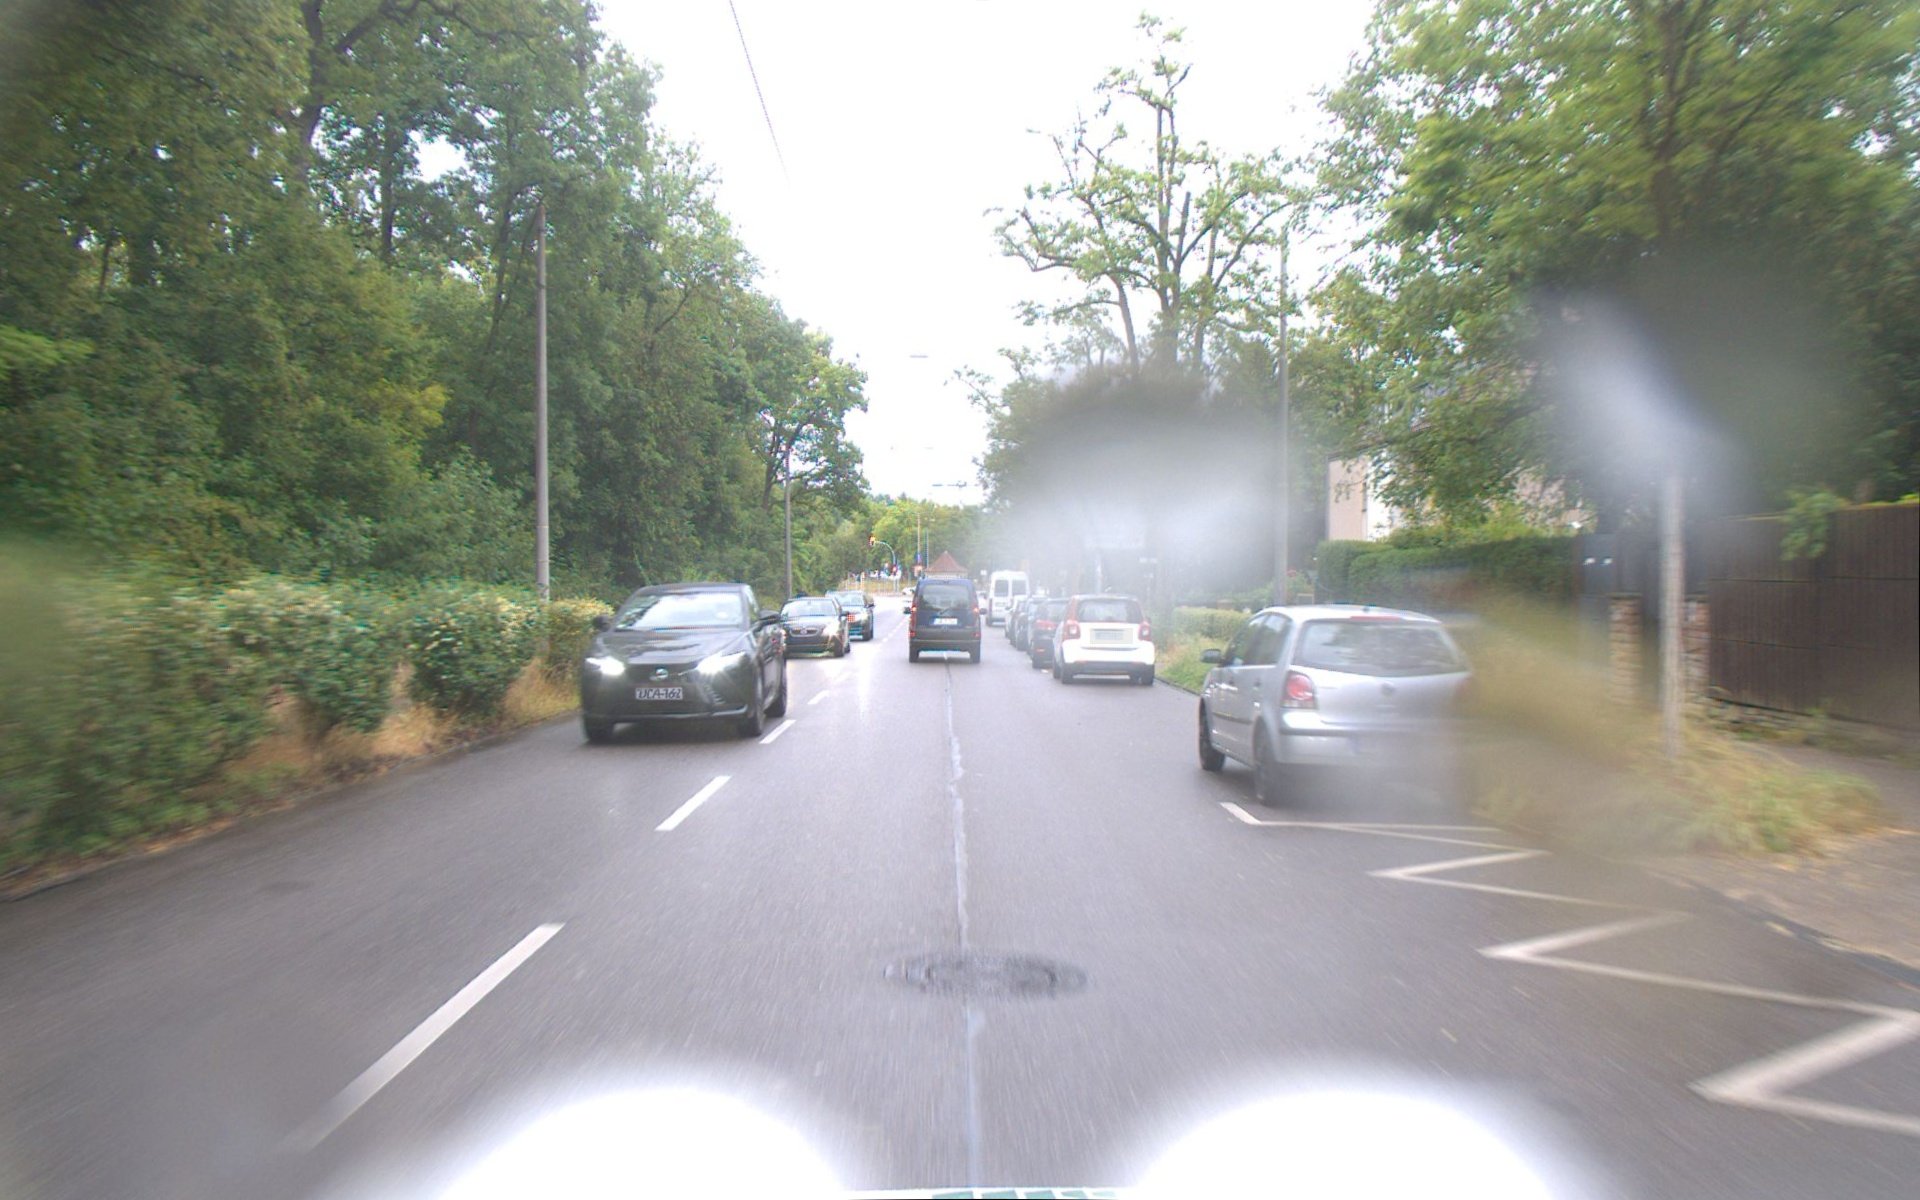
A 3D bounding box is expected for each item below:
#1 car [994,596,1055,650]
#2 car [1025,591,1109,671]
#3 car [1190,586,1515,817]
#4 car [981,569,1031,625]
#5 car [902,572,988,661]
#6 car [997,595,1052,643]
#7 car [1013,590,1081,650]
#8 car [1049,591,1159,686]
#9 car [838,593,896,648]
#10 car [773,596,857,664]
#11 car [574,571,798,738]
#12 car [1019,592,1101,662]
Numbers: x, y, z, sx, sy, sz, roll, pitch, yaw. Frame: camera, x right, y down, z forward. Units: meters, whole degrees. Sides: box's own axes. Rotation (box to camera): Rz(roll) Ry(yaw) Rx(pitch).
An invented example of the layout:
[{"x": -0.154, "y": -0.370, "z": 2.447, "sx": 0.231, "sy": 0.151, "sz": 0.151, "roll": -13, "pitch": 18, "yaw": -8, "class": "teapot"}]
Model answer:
[{"x": 1.995, "y": 0.702, "z": 52.359, "sx": 1.663, "sy": 1.551, "sz": 3.866, "roll": 1, "pitch": 1, "yaw": -1, "class": "car"}, {"x": 2.283, "y": 0.624, "z": 35.919, "sx": 1.663, "sy": 1.551, "sz": 3.869, "roll": 1, "pitch": 1, "yaw": 2, "class": "car"}, {"x": 3.015, "y": 0.700, "z": 13.477, "sx": 1.585, "sy": 1.534, "sz": 3.833, "roll": 1, "pitch": 1, "yaw": -2, "class": "car"}, {"x": 2.111, "y": -0.147, "z": 76.972, "sx": 2.160, "sy": 2.492, "sz": 4.729, "roll": 0, "pitch": 0, "yaw": -1, "class": "car"}, {"x": -0.380, "y": 0.335, "z": 37.436, "sx": 1.732, "sy": 1.862, "sz": 3.540, "roll": 1, "pitch": 1, "yaw": -3, "class": "car"}, {"x": 2.253, "y": 0.647, "z": 58.681, "sx": 1.663, "sy": 1.551, "sz": 3.866, "roll": 1, "pitch": 1, "yaw": -1, "class": "car"}, {"x": 2.401, "y": 0.522, "z": 46.548, "sx": 1.663, "sy": 1.551, "sz": 4.211, "roll": 1, "pitch": 1, "yaw": 0, "class": "car"}, {"x": 2.535, "y": 0.640, "z": 29.641, "sx": 1.600, "sy": 1.536, "sz": 2.957, "roll": 1, "pitch": 1, "yaw": -2, "class": "car"}, {"x": -3.046, "y": 0.637, "z": 54.856, "sx": 1.688, "sy": 1.644, "sz": 4.155, "roll": -1, "pitch": 1, "yaw": -1, "class": "car"}, {"x": -3.579, "y": 0.703, "z": 41.554, "sx": 1.693, "sy": 1.468, "sz": 5.112, "roll": -2, "pitch": 1, "yaw": -1, "class": "car"}, {"x": -2.924, "y": 0.498, "z": 18.583, "sx": 1.767, "sy": 1.574, "sz": 4.431, "roll": -2, "pitch": 1, "yaw": -1, "class": "car"}, {"x": 2.401, "y": 0.622, "z": 40.584, "sx": 1.663, "sy": 1.551, "sz": 3.866, "roll": 1, "pitch": 1, "yaw": -1, "class": "car"}]
